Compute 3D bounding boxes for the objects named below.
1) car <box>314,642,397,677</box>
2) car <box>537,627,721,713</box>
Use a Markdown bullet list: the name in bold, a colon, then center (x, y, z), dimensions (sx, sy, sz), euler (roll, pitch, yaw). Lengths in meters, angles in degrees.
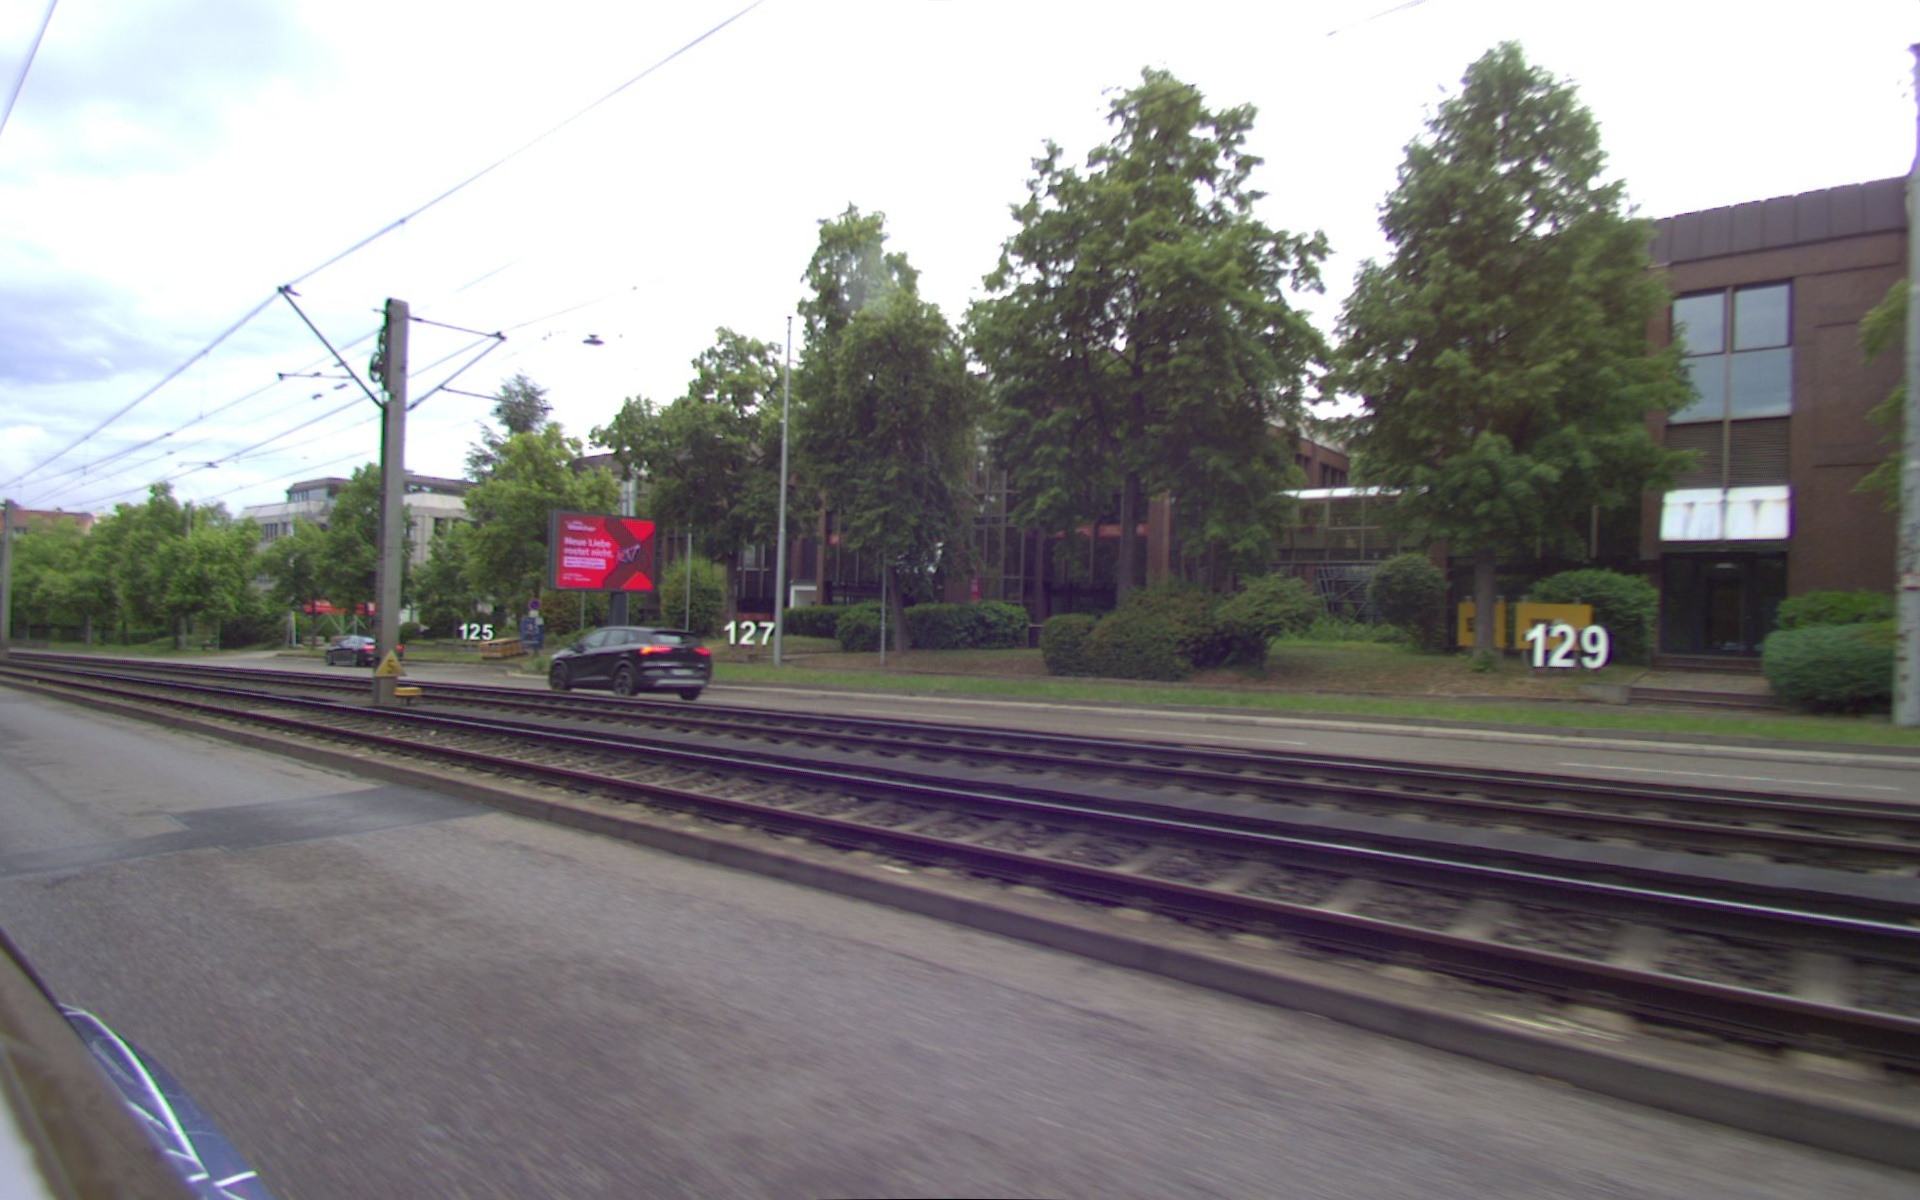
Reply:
- **car**: center (-28.359, 2.763, 47.439), dimensions (4.615, 1.542, 1.777), euler (-2, -3, 38)
- **car**: center (-7.230, 1.453, 21.926), dimensions (4.235, 1.669, 1.816), euler (-2, -3, 40)
